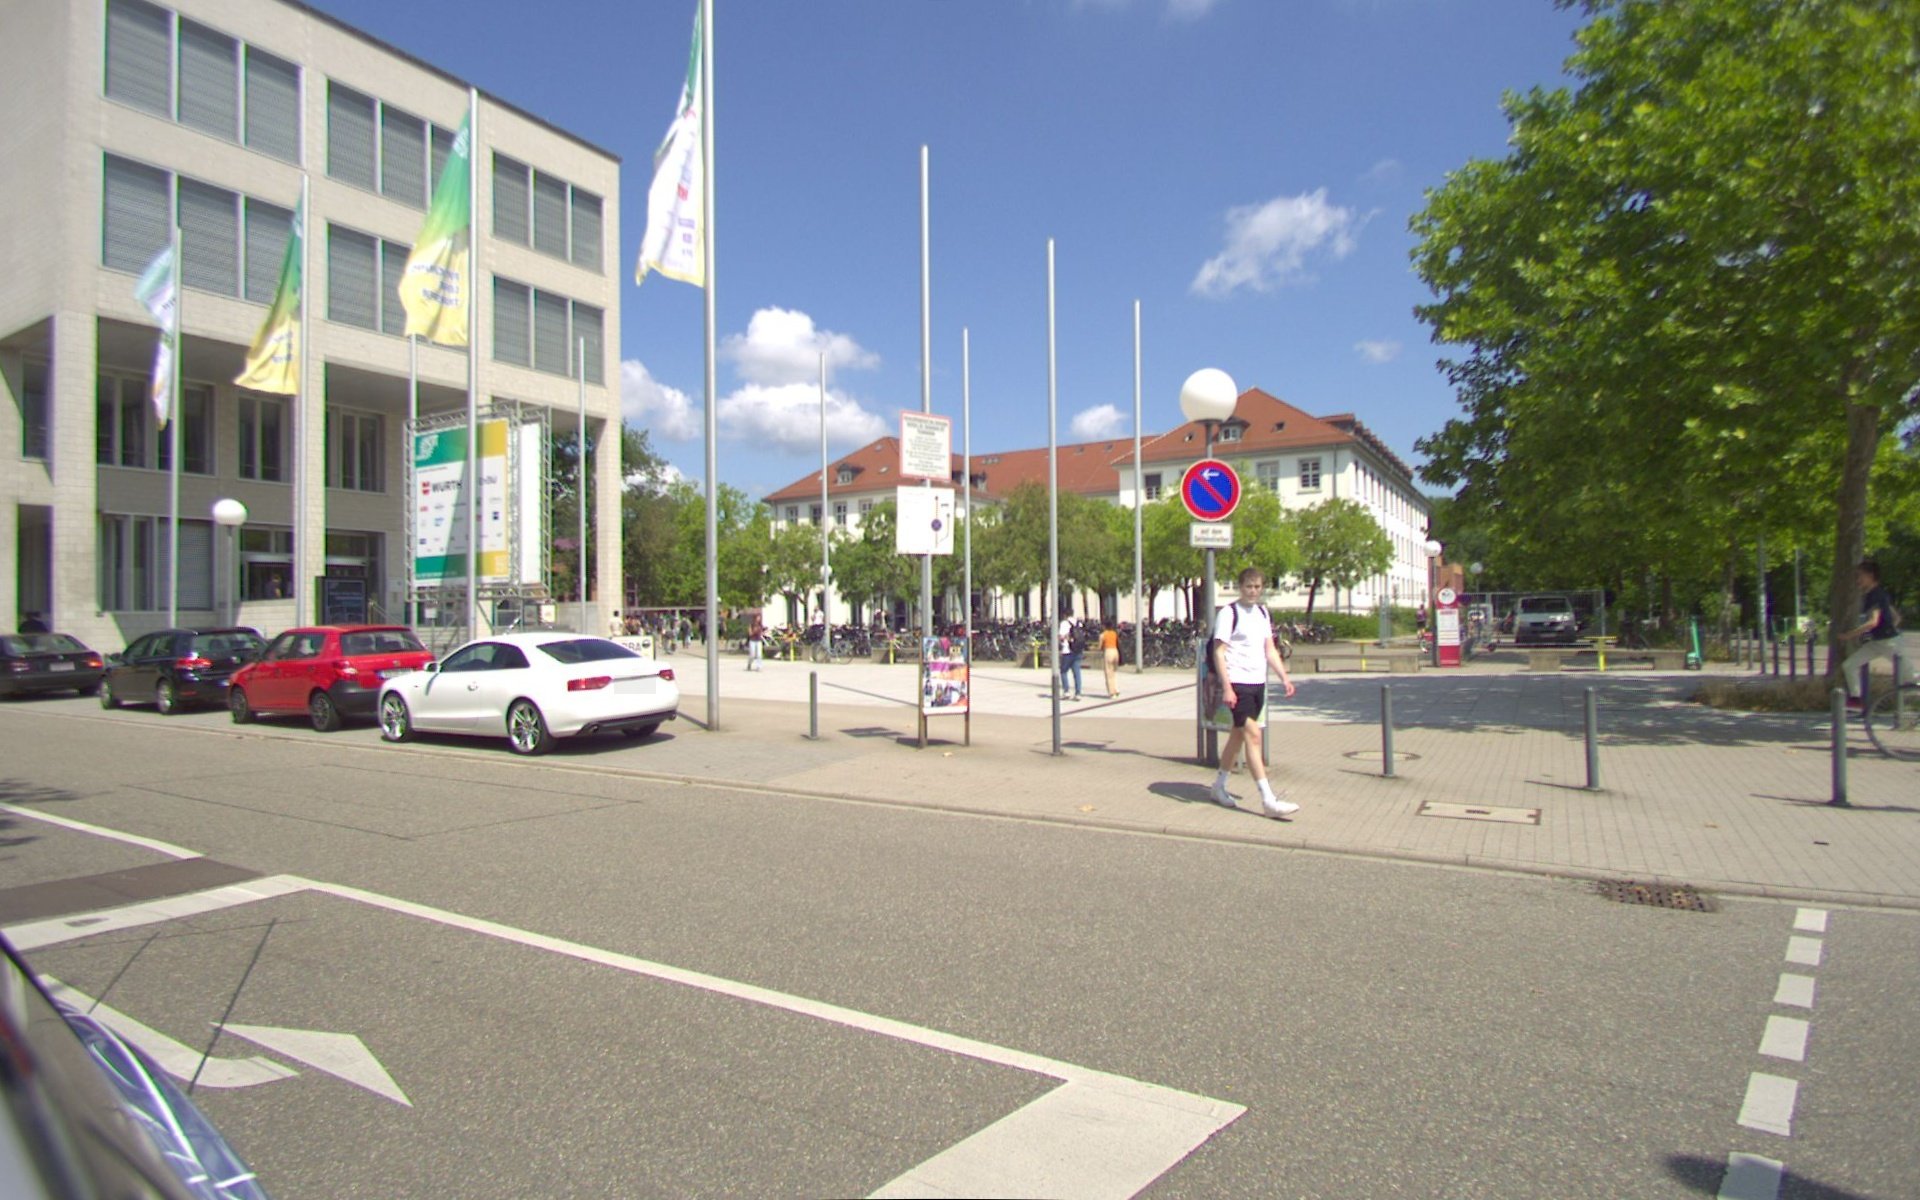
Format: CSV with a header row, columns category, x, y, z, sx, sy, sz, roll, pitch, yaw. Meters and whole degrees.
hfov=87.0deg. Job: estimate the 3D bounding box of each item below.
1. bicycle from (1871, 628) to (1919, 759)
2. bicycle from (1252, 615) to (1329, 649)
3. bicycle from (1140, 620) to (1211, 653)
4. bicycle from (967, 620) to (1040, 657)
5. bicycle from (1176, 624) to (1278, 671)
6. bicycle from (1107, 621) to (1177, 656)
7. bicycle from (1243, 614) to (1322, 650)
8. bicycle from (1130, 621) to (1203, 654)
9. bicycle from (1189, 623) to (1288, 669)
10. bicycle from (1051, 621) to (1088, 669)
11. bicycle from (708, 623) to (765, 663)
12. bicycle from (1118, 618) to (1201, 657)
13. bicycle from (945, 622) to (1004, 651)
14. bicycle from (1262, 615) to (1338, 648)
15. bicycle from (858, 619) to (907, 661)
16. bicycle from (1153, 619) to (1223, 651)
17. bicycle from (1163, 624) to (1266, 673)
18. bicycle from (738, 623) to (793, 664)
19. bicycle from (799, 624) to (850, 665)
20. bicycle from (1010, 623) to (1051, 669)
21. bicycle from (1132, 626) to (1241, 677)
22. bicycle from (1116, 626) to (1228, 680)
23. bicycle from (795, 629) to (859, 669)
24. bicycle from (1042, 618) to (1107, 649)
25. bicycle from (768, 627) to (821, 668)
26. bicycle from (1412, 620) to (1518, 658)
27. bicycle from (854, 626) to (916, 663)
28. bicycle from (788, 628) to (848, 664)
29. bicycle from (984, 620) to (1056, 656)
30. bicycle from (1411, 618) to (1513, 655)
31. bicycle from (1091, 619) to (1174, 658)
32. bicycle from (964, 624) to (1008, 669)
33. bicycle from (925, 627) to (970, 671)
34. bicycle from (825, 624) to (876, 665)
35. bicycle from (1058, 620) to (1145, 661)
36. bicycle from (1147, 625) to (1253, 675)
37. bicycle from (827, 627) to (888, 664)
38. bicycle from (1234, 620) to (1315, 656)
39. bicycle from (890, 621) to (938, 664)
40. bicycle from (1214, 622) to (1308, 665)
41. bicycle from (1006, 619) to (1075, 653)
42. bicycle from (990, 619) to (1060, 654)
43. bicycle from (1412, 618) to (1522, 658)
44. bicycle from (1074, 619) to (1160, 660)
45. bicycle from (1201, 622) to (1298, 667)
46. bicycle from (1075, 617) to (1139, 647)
category,x,y,z,sx,sy,sz,roll,pitch,yaw
bicycle,9.130,0.808,8.597,2.025,1.131,0.762,-2,-2,41
bicycle,14.035,1.359,43.044,2.945,1.422,1.052,-2,-1,36
bicycle,9.720,1.640,45.641,2.940,1.422,1.055,-1,-1,30
bicycle,1.744,1.554,41.156,2.951,1.422,1.051,-2,-1,42
bicycle,8.473,1.487,32.231,2.945,1.422,1.052,-2,-1,36
bicycle,7.763,1.644,43.250,1.049,1.422,2.956,0,-1,-40
bicycle,13.376,1.338,42.076,2.945,1.422,1.052,-2,-1,36
bicycle,9.043,1.636,44.427,2.940,1.422,1.055,-1,-1,30
bicycle,9.089,1.488,33.137,2.945,1.422,1.052,-2,-1,36
bicycle,3.520,1.402,32.311,1.053,1.422,2.943,-1,-1,8
bicycle,-8.486,1.616,38.579,1.135,1.422,2.943,-1,-1,8
bicycle,7.567,1.416,38.469,2.948,1.422,1.051,-2,-1,40
bicycle,0.717,1.878,51.642,2.948,1.422,1.133,-2,-1,39
bicycle,14.802,1.369,44.086,2.945,1.422,1.052,-2,-1,36
bicycle,-2.753,1.431,36.568,1.135,1.422,2.943,-1,-1,8
bicycle,10.681,1.646,47.445,2.940,1.422,1.201,-1,-1,30
bicycle,7.862,1.487,31.378,2.945,1.422,1.005,-2,-1,36
bicycle,-7.337,1.621,38.351,1.135,1.422,2.943,-1,-1,8
bicycle,-5.034,1.631,37.923,1.135,1.422,2.943,-1,-1,8
bicycle,2.363,1.500,33.621,1.135,1.422,2.943,-1,-1,8
bicycle,6.617,1.484,29.658,2.945,1.427,1.005,-2,-1,36
bicycle,6.009,1.482,28.796,2.945,1.430,1.005,-2,-1,36
bicycle,-4.270,1.559,32.370,2.087,1.225,0.644,-2,-1,32
bicycle,5.391,1.574,47.672,2.948,1.422,1.051,-2,-1,40
bicycle,-6.186,1.768,38.121,1.135,1.422,2.943,-1,-1,8
bicycle,16.004,1.231,32.209,2.933,1.146,0.993,-1,-1,24
bicycle,-3.155,1.823,42.071,1.129,1.422,2.957,0,-1,-37
bicycle,-5.854,1.865,41.633,1.129,1.422,2.957,0,-1,-37
bicycle,2.470,1.552,42.014,2.951,1.422,1.051,-2,-1,42
bicycle,16.471,1.195,33.314,2.932,1.158,0.993,-1,-1,24
bicycle,6.438,1.428,37.922,2.948,1.422,1.051,-2,-1,40
bicycle,0.911,1.535,34.293,1.135,1.422,2.943,-1,-1,8
bicycle,-0.407,1.691,35.703,1.135,1.422,2.943,-1,-1,8
bicycle,-3.974,1.601,37.042,1.135,1.422,2.943,-1,-1,8
bicycle,5.024,1.431,36.172,2.948,1.422,1.051,-2,-1,40
bicycle,7.215,1.487,30.522,2.945,1.422,1.005,-2,-1,36
bicycle,-4.234,1.835,41.565,1.129,1.422,2.957,0,-1,-37
bicycle,12.721,1.526,41.030,2.945,1.422,1.052,-2,-1,36
bicycle,-1.610,1.489,36.021,1.135,1.422,2.943,-1,-1,8
bicycle,10.371,1.489,34.948,2.945,1.422,1.052,-2,-1,36
bicycle,3.496,1.563,44.259,2.951,1.422,1.051,-2,-1,42
bicycle,2.762,1.565,43.405,2.951,1.422,1.051,-2,-1,42
bicycle,15.578,1.169,31.221,2.933,1.156,0.993,-1,-1,24
bicycle,5.727,1.430,37.043,2.948,1.422,1.051,-2,-1,40
bicycle,9.724,1.489,34.029,2.945,1.422,1.052,-2,-1,36
bicycle,7.120,1.563,49.179,2.948,1.422,1.051,-2,-1,40
